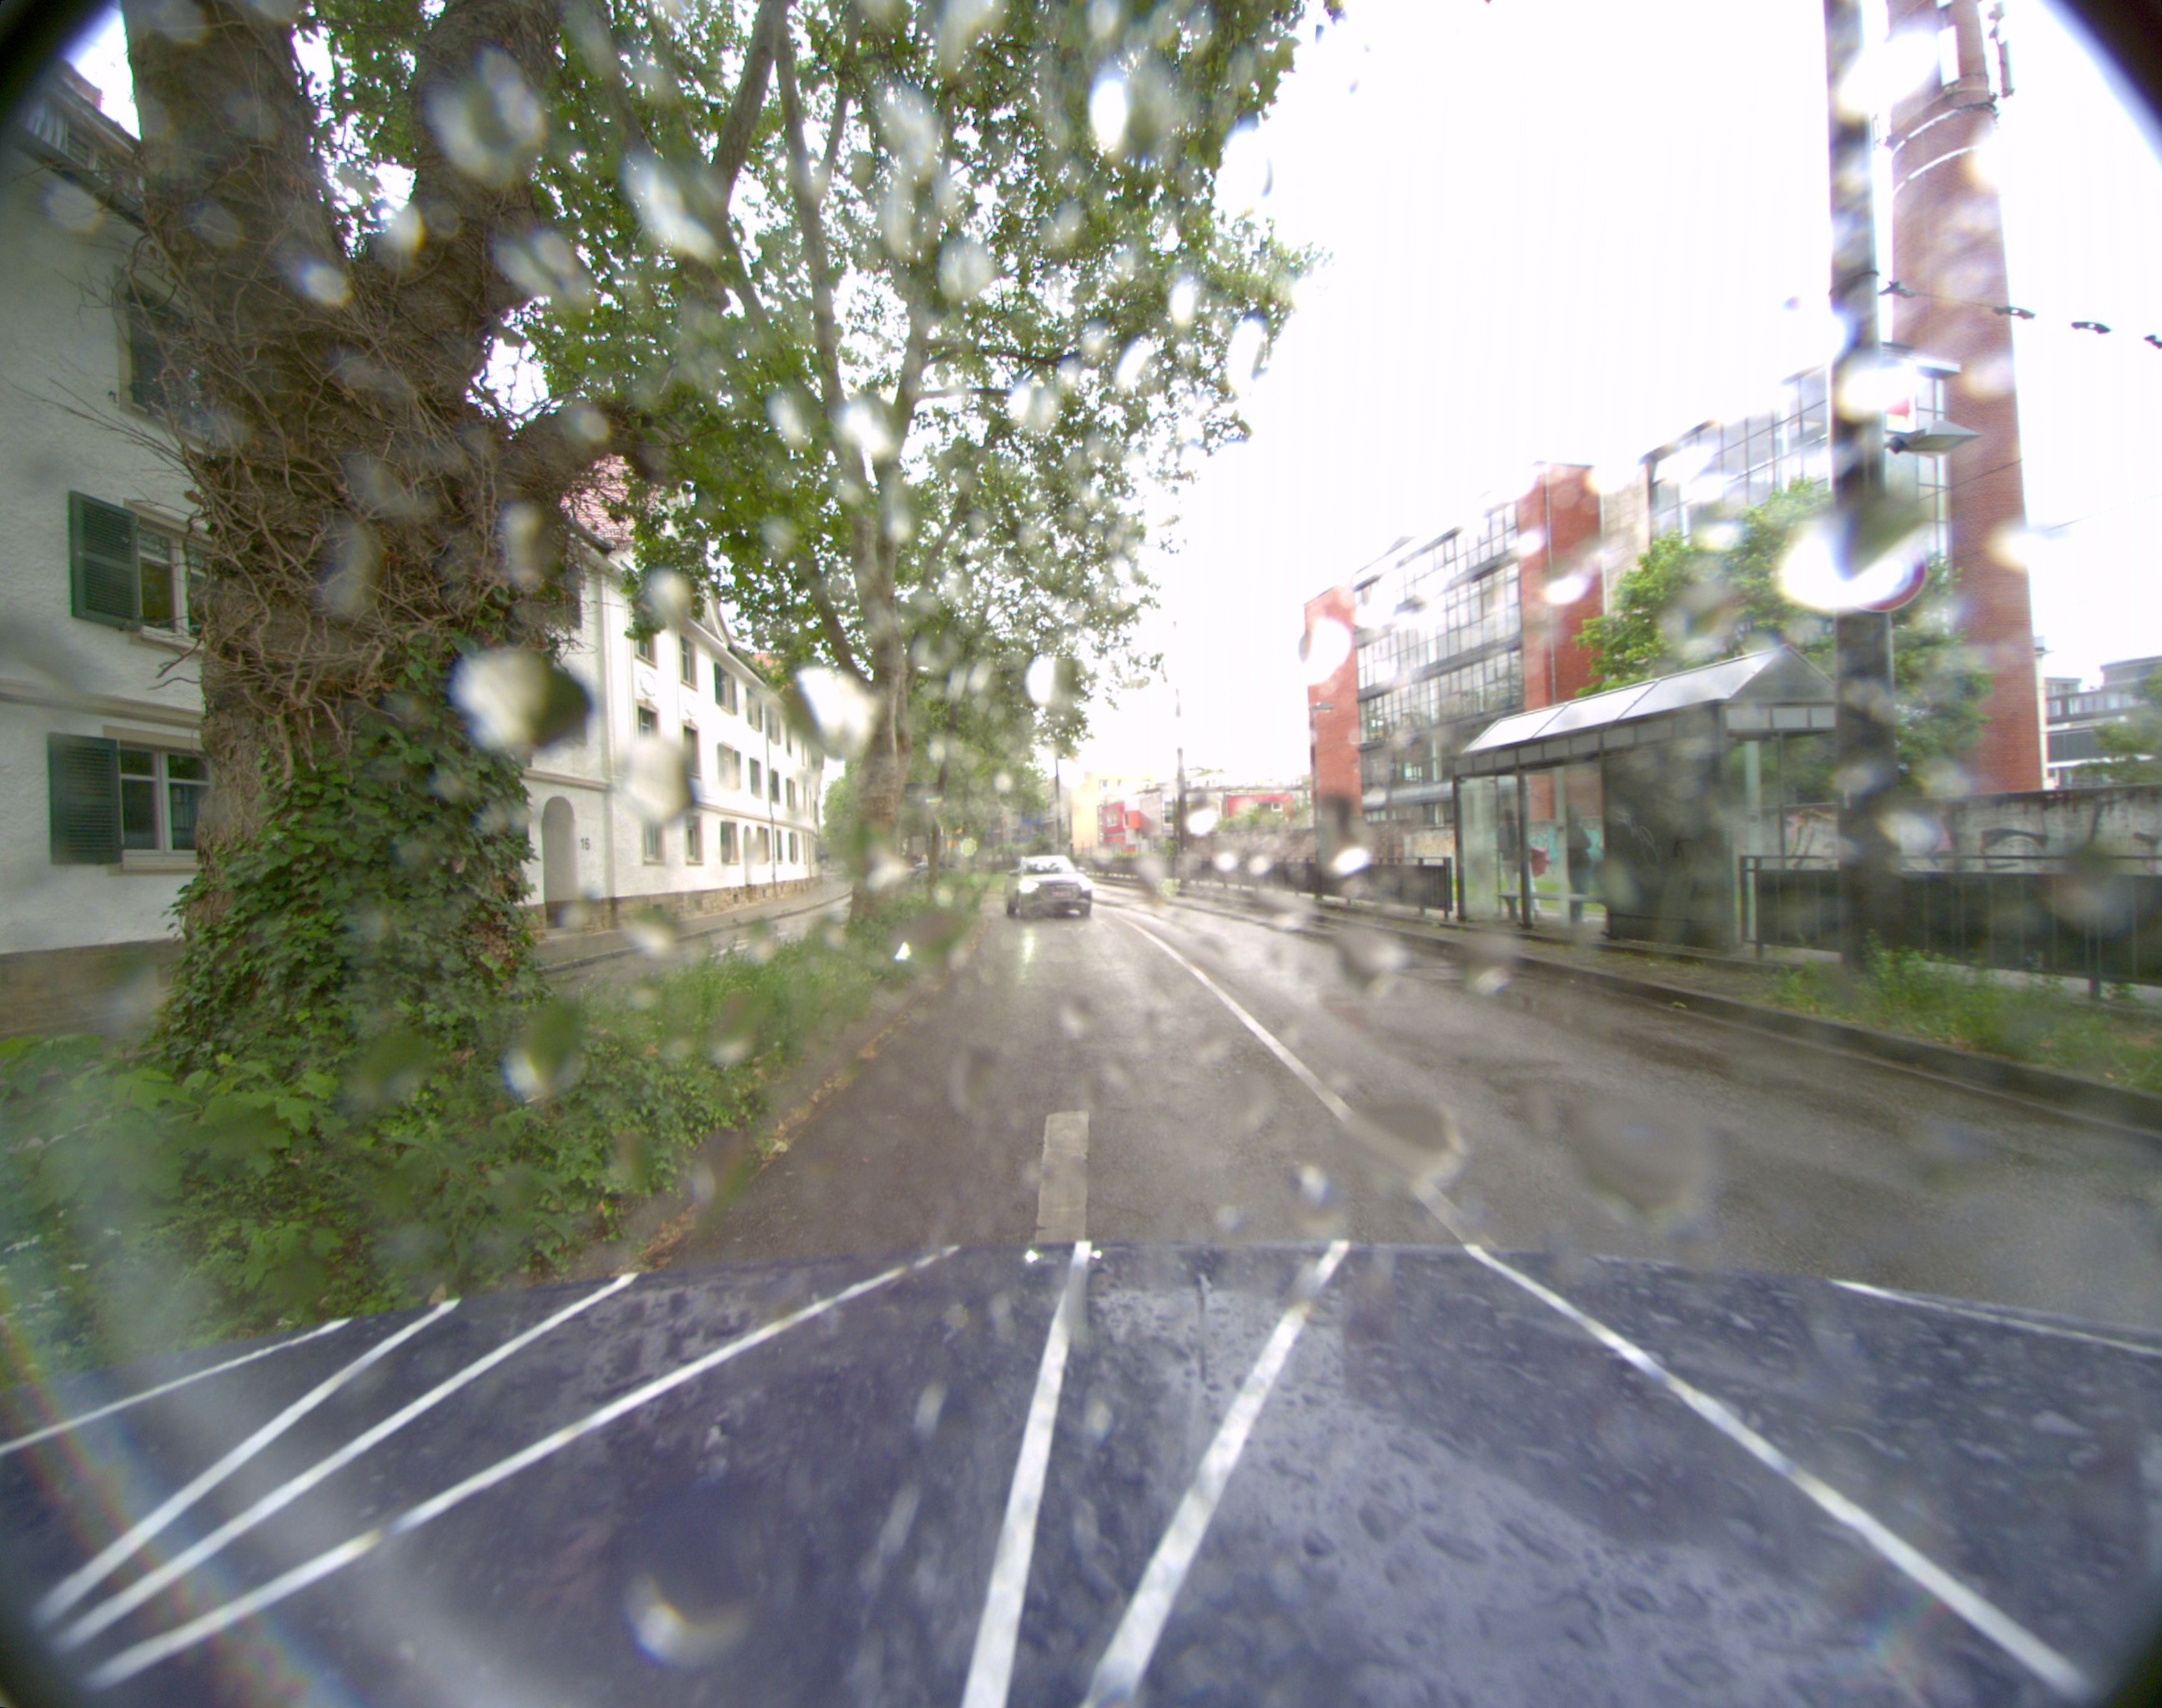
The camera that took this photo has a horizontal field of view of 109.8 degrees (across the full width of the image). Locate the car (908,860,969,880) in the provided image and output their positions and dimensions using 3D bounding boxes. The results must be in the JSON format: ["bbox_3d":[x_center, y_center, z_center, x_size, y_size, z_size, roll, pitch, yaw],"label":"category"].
[{"bbox_3d":[-11.228,1.269,59.963,4.224,1.532,1.932,-1,0,11],"label":"car"}]

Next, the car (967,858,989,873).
[{"bbox_3d":[-11.858,1.275,87.107,1.694,1.713,3.685,-1,0,-20],"label":"car"}]

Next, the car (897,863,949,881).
[{"bbox_3d":[-14.609,1.643,70.236,4.328,1.603,1.749,-1,0,6],"label":"car"}]

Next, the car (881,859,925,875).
[{"bbox_3d":[-22.210,1.606,94.696,4.884,2.002,2.002,-1,0,11],"label":"car"}]

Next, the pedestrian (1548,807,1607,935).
[{"bbox_3d":[6.910,0.227,10.579,0.584,1.721,0.566,-1,1,-43],"label":"pedestrian"}]

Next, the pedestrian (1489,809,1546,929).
[{"bbox_3d":[6.492,0.216,11.304,0.584,1.721,0.566,-1,1,-41],"label":"pedestrian"}]

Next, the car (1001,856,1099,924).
[{"bbox_3d":[-0.955,0.888,20.758,1.853,1.586,4.211,-2,0,-13],"label":"car"}]
